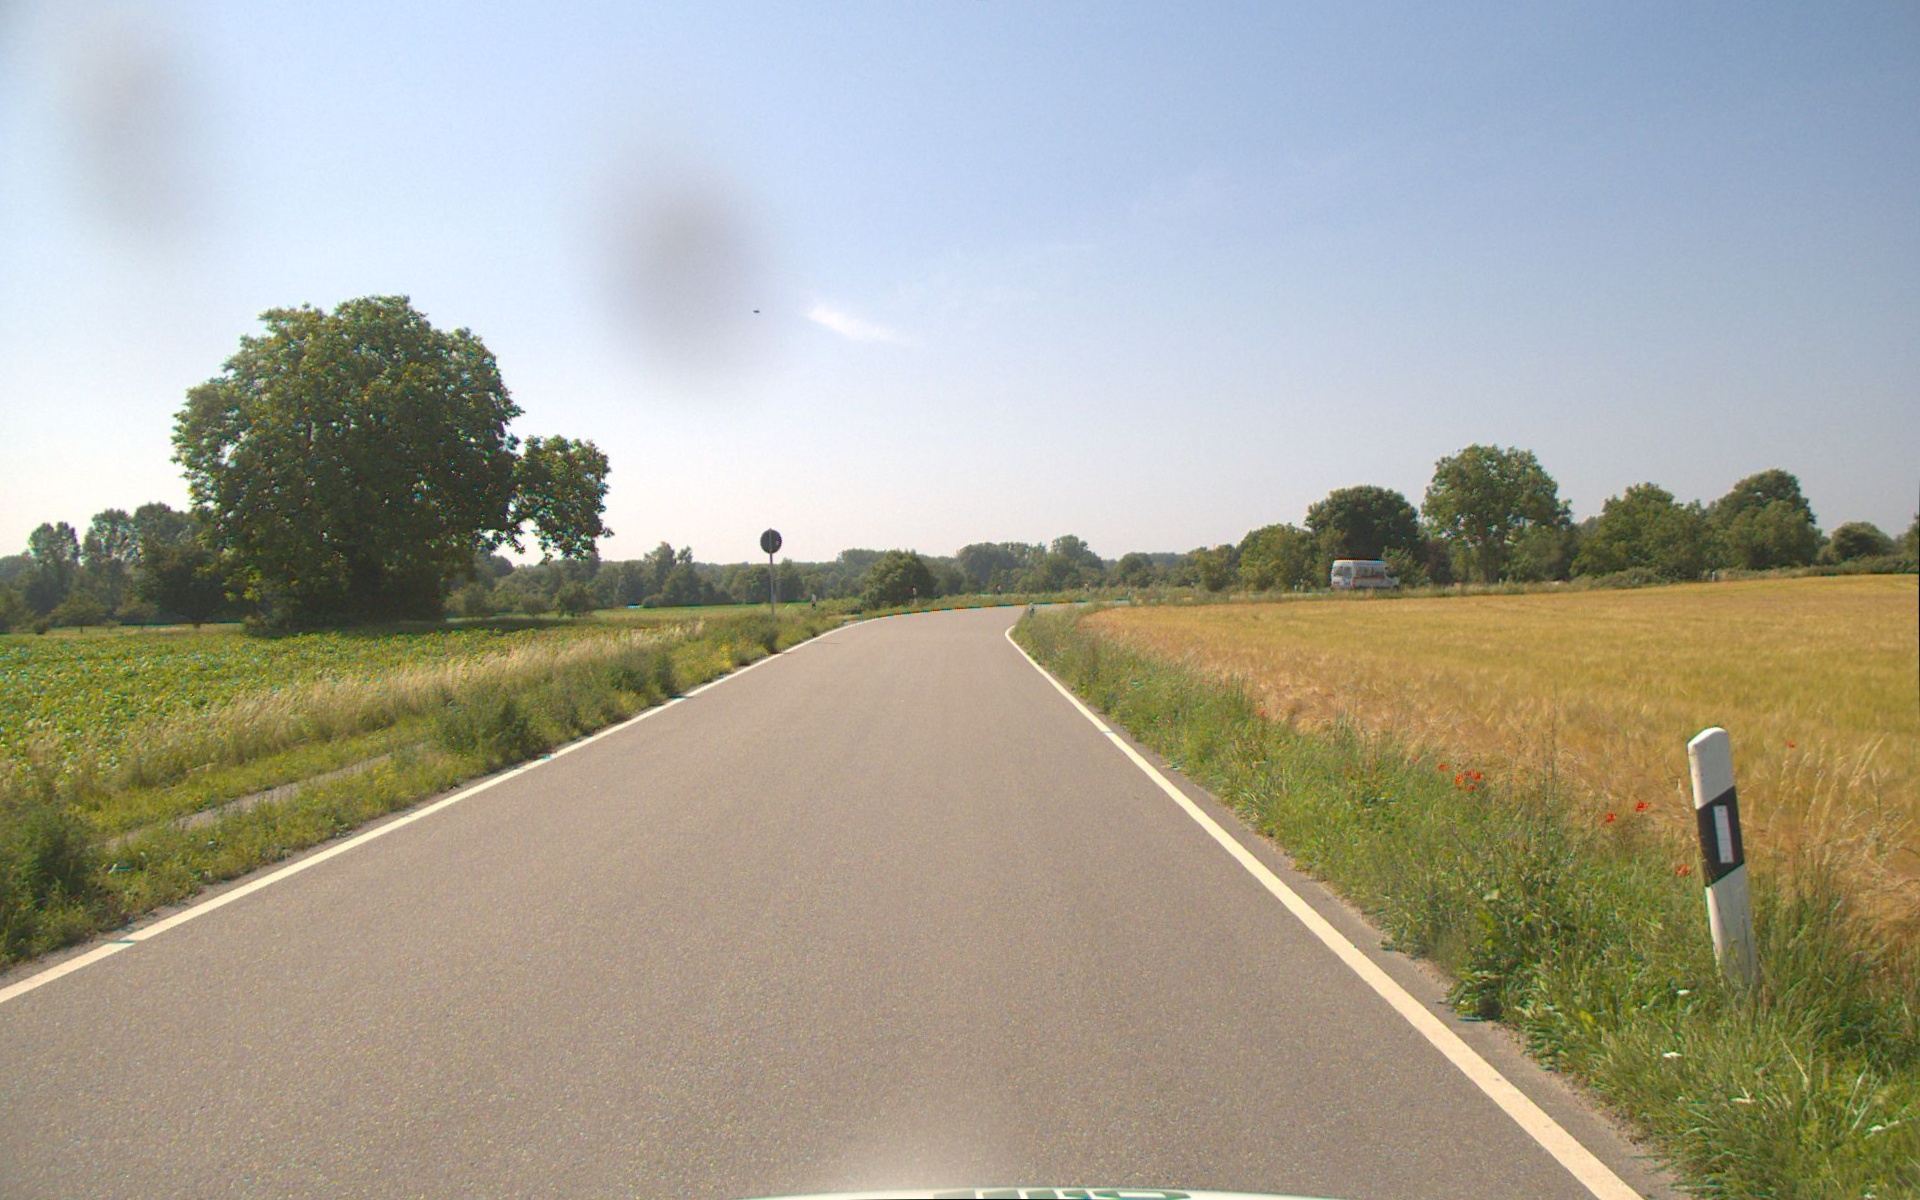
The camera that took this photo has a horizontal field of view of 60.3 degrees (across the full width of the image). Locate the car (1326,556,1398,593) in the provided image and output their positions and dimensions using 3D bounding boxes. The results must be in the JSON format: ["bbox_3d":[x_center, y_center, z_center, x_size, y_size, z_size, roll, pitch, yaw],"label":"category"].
[{"bbox_3d":[28.515,-1.826,117.195,5.639,2.408,2.078,-3,1,-42],"label":"car"}]
